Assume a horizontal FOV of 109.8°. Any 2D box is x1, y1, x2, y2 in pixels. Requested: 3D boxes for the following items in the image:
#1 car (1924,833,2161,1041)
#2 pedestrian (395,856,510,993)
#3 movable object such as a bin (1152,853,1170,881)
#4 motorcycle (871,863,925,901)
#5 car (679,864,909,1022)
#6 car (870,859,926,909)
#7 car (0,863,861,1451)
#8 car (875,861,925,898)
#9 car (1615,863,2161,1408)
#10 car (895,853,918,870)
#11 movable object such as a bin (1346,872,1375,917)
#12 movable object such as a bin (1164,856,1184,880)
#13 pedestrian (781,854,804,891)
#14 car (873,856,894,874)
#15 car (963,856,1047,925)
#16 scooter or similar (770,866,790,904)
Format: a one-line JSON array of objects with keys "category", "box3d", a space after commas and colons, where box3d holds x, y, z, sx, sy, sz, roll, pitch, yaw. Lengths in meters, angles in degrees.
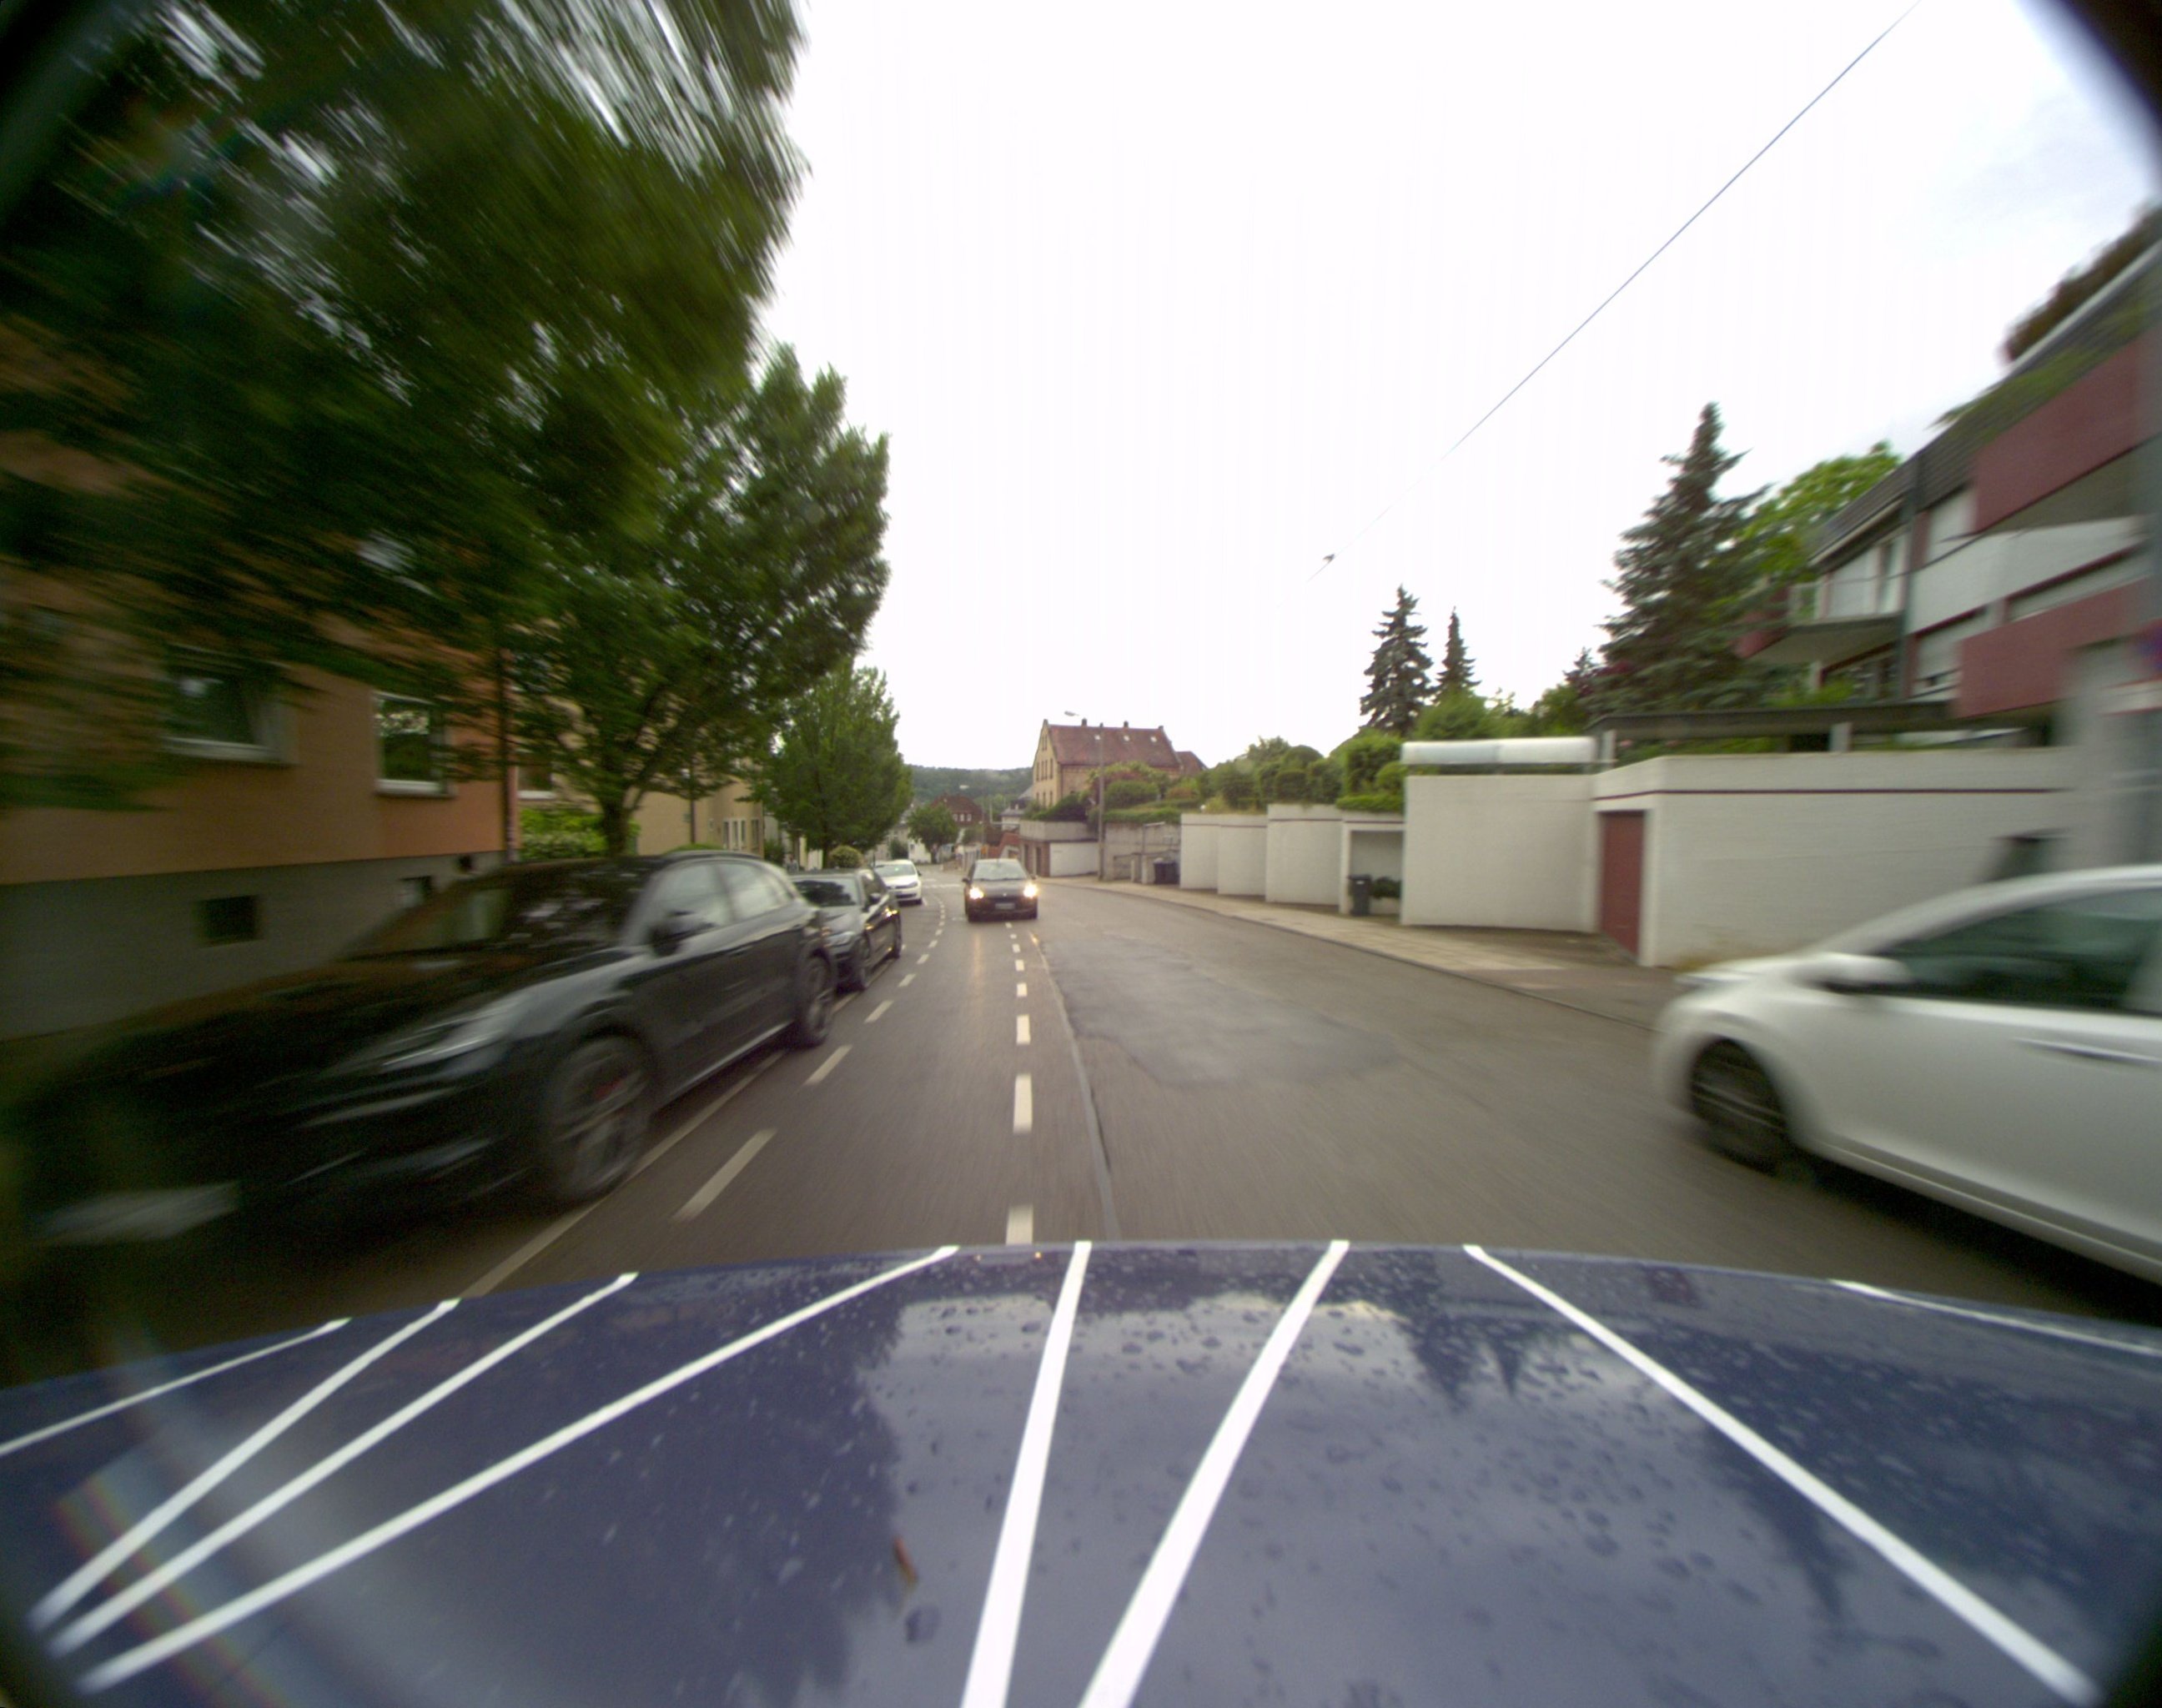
[{"category": "car", "box3d": [9.494, 0.545, 5.649, 3.922, 1.470, 1.771, -2, 0, 26]}, {"category": "pedestrian", "box3d": [-8.200, 0.887, 9.957, 0.762, 1.710, 0.902, 2, 0, -7]}, {"category": "movable object such as a bin", "box3d": [3.403, 0.552, 32.243, 0.527, 1.140, 0.602, -1, 2, 29]}, {"category": "motorcycle", "box3d": [-7.029, 1.058, 29.124, 1.920, 1.322, 0.786, -3, 1, -17]}, {"category": "car", "box3d": [-3.638, 0.983, 10.643, 1.860, 1.572, 4.854, -1, 0, -7]}, {"category": "car", "box3d": [-6.188, 0.946, 26.008, 1.662, 1.481, 3.996, -3, 0, -11]}, {"category": "car", "box3d": [-3.257, 0.940, 4.866, 2.059, 1.646, 5.235, -1, 0, 1]}, {"category": "car", "box3d": [-7.656, 1.022, 32.322, 1.885, 1.408, 4.462, -2, 0, -13]}, {"category": "car", "box3d": [3.877, 0.815, 2.408, 1.631, 1.507, 3.831, 0, 0, -1]}, {"category": "car", "box3d": [-19.972, 0.880, 86.849, 2.019, 1.892, 4.088, -2, 0, -20]}, {"category": "movable object such as a bin", "box3d": [6.218, 0.897, 16.894, 0.543, 0.957, 0.647, -1, 0, 24]}, {"category": "movable object such as a bin", "box3d": [3.911, 0.595, 31.952, 0.608, 0.986, 0.602, -2, 1, 29]}, {"category": "pedestrian", "box3d": [-13.573, 0.862, 35.733, 0.836, 1.676, 1.043, 2, 0, -14]}, {"category": "car", "box3d": [-18.733, 1.048, 72.020, 1.736, 1.598, 4.113, -3, 1, -17]}, {"category": "car", "box3d": [-2.048, 0.841, 19.535, 1.894, 1.521, 4.053, -1, 0, -8]}, {"category": "scooter or similar", "box3d": [-10.333, 1.057, 26.091, 0.414, 1.238, 1.174, -1, 0, -12]}]
